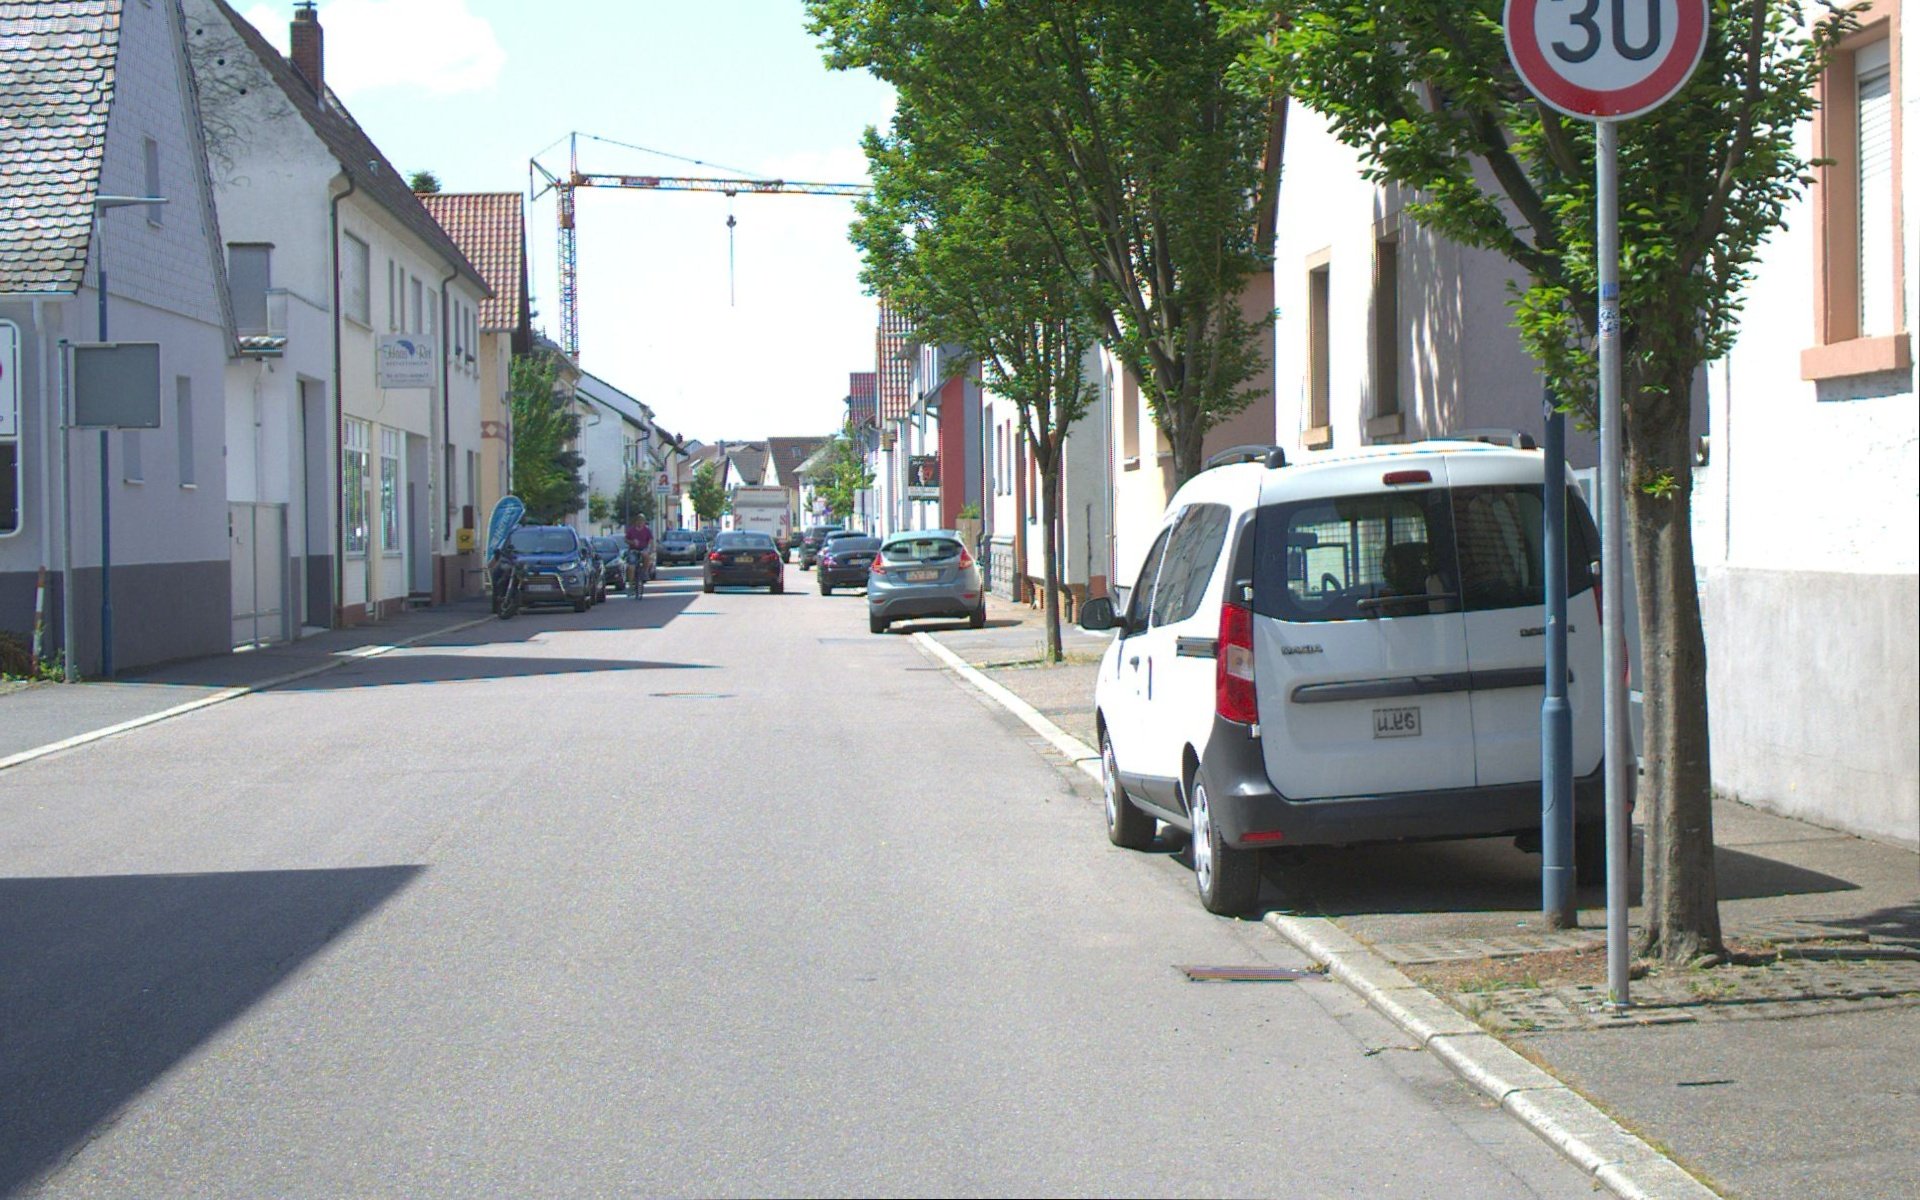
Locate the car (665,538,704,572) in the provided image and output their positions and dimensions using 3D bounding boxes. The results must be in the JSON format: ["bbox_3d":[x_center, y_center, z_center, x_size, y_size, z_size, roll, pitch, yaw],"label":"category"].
[{"bbox_3d":[-13.375,-2.202,167.058,1.809,1.583,4.001,0,1,-4],"label":"car"}]

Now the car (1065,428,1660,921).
[{"bbox_3d":[1.575,0.230,14.920,1.719,1.784,4.145,-2,1,-5],"label":"car"}]

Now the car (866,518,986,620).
[{"bbox_3d":[-0.548,-0.488,51.572,1.719,1.456,4.157,0,1,-2],"label":"car"}]

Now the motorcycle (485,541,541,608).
[{"bbox_3d":[-8.019,-0.466,61.707,0.846,1.166,2.470,1,1,-5],"label":"motorcycle"}]

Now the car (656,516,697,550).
[{"bbox_3d":[-13.216,-3.120,160.378,1.809,1.583,4.001,0,1,-4],"label":"car"}]

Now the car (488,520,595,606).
[{"bbox_3d":[-7.935,-0.726,65.478,1.809,1.583,4.001,0,1,-4],"label":"car"}]

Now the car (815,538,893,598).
[{"bbox_3d":[-2.492,-0.762,79.900,1.719,1.350,4.157,0,1,-3],"label":"car"}]

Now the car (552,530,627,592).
[{"bbox_3d":[-9.735,-1.045,90.473,1.809,1.583,4.001,0,1,-4],"label":"car"}]

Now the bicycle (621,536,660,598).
[{"bbox_3d":[-7.008,-0.728,75.503,0.751,1.303,2.686,1,1,-4],"label":"bicycle"}]

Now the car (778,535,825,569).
[{"bbox_3d":[-5.953,-1.814,128.719,1.719,1.264,4.157,0,1,-3],"label":"car"}]

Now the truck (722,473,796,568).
[{"bbox_3d":[-9.377,-3.686,161.445,3.144,4.236,9.303,1,1,-2],"label":"truck"}]

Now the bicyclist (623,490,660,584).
[{"bbox_3d":[-7.002,-1.384,75.562,0.740,2.052,0.844,1,0,-4],"label":"bicyclist"}]

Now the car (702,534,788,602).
[{"bbox_3d":[-5.045,-0.777,81.207,1.902,1.558,4.477,0,1,-2],"label":"car"}]
